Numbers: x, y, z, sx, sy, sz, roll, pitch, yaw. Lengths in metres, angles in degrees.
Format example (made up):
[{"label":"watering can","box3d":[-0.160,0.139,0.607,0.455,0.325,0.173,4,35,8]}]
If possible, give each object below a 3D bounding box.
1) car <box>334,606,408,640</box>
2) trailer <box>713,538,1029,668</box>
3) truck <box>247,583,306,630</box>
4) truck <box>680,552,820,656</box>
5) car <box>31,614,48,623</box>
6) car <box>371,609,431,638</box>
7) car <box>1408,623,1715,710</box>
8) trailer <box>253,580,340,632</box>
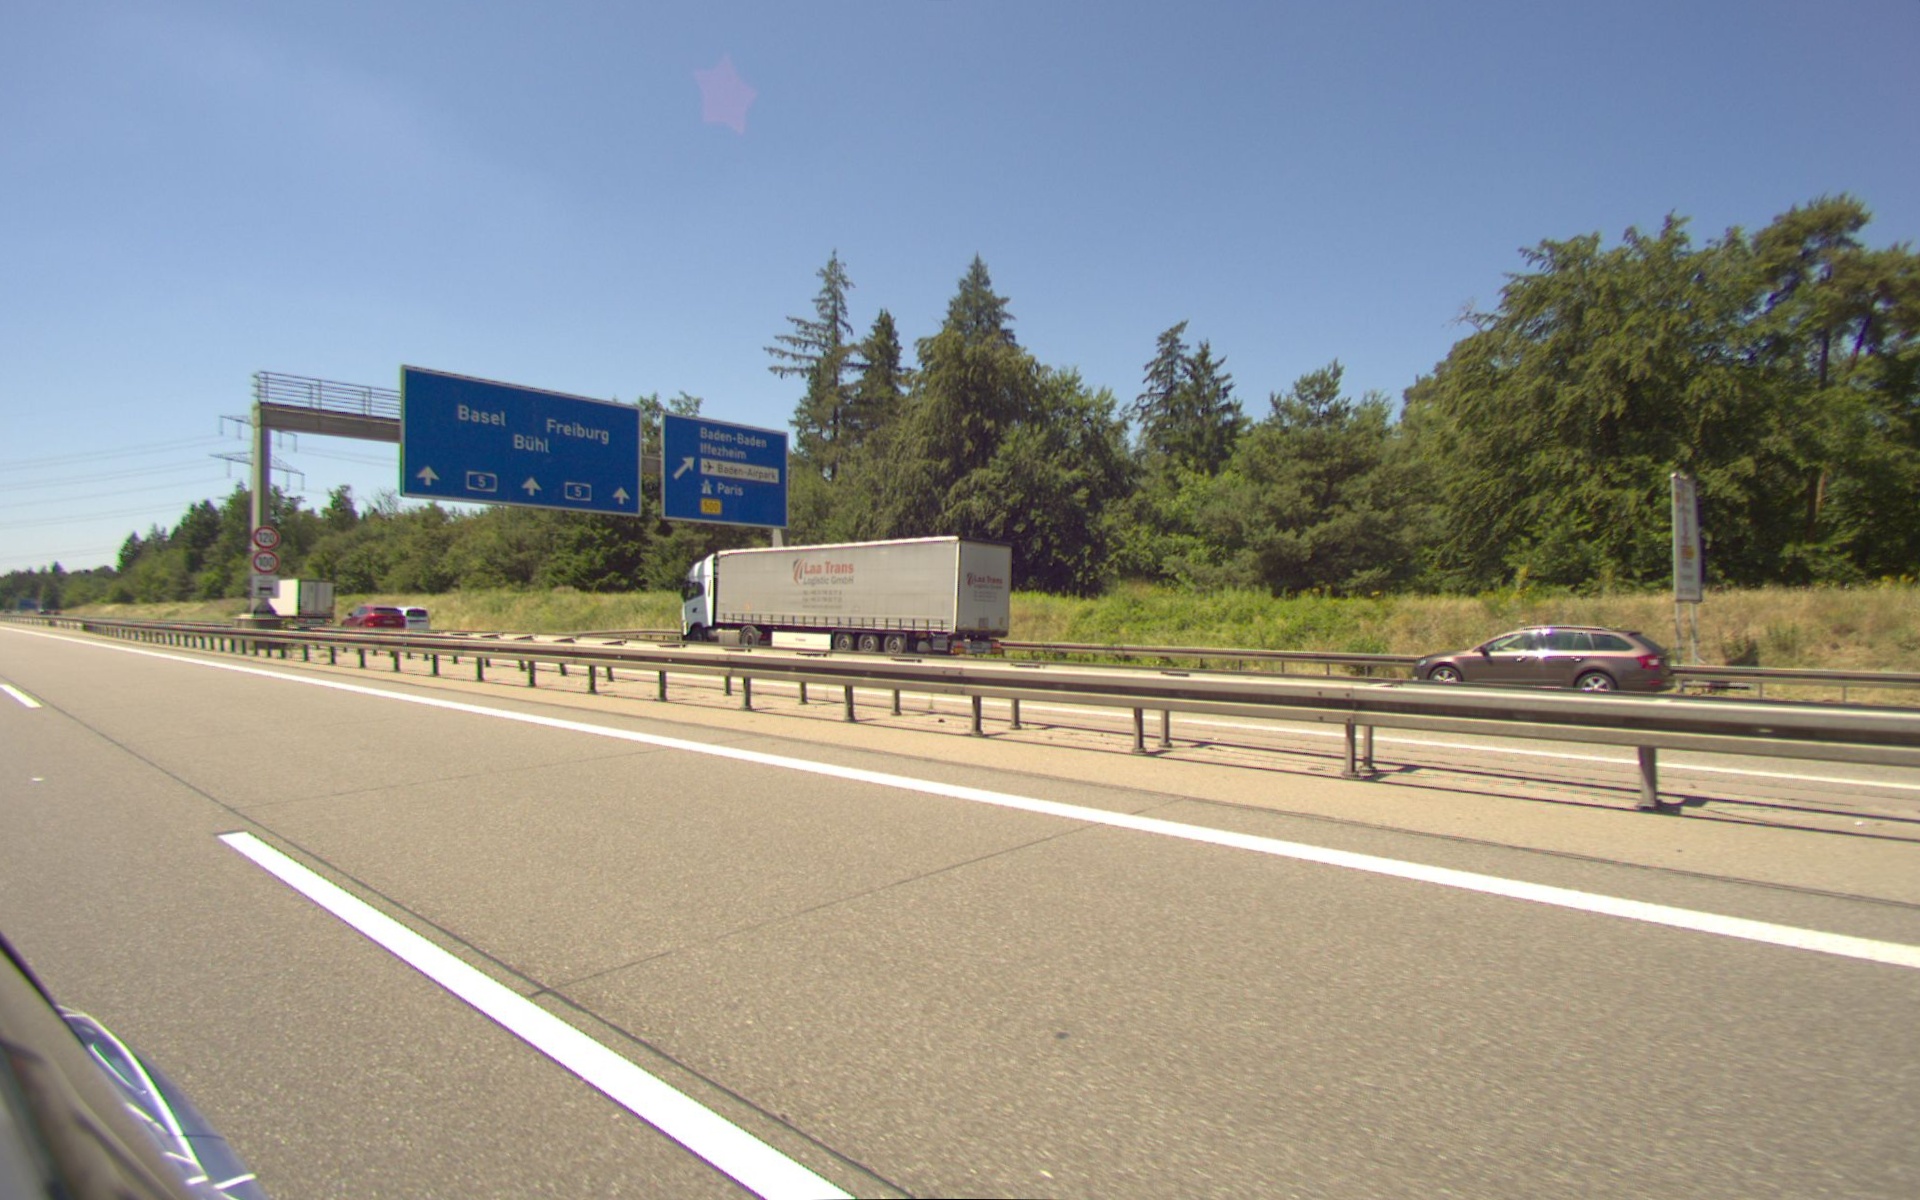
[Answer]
[{"label":"car","box3d":[-29.574,1.127,50.772,4.921,1.622,1.826,0,0,43]},{"label":"trailer","box3d":[-3.812,0.101,36.739,13.970,3.960,3.132,0,0,45]},{"label":"truck","box3d":[-60.869,0.532,90.093,6.218,4.048,3.178,-1,0,44]},{"label":"truck","box3d":[-8.670,0.150,41.543,5.402,3.960,3.132,0,0,45]},{"label":"car","box3d":[-171.426,3.461,188.468,4.743,1.521,1.806,-1,-1,43]},{"label":"car","box3d":[-36.581,1.504,66.169,4.990,1.763,1.972,-1,0,42]},{"label":"car","box3d":[11.814,1.217,20.127,4.942,1.474,2.063,-1,-1,43]},{"label":"trailer","box3d":[-56.124,0.505,85.384,14.366,4.073,3.178,-1,0,45]}]
